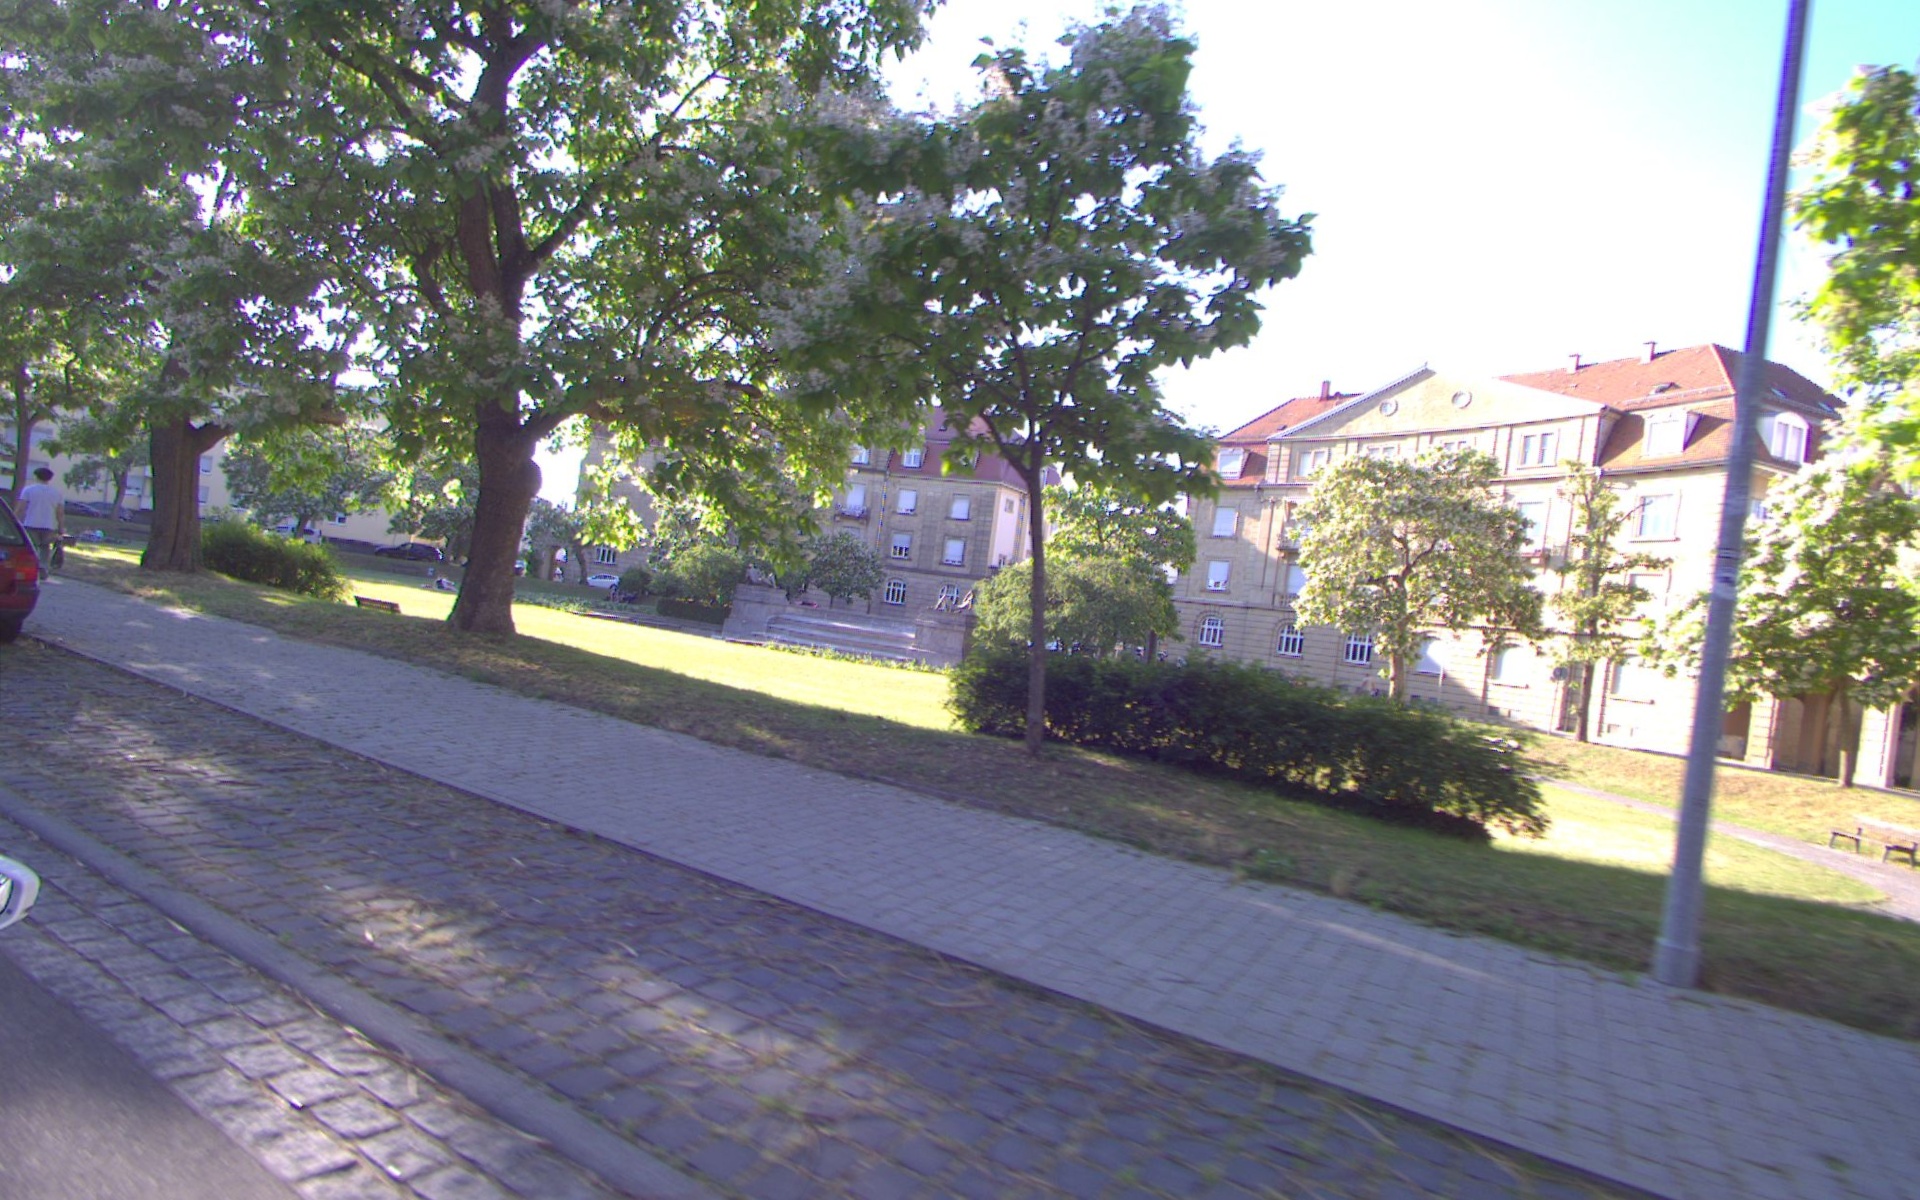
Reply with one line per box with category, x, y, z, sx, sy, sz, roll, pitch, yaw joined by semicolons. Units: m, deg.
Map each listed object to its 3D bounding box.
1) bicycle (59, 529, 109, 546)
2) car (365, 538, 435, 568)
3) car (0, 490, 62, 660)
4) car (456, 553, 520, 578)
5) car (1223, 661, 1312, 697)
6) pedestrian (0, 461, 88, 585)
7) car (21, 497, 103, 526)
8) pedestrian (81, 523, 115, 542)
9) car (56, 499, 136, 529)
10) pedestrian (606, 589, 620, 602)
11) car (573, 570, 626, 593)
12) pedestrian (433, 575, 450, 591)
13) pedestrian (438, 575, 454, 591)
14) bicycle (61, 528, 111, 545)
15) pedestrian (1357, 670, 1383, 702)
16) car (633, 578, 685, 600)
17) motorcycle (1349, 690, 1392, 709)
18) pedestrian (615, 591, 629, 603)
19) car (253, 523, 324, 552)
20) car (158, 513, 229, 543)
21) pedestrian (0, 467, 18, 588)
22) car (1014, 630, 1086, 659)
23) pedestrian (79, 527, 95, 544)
bicycle;-46.870;-3.365;53.874;1.755;0.622;1.796;9;-2;-34
car;-45.341;-3.794;81.591;4.456;1.767;1.875;8;-1;-15
car;-10.829;-0.497;9.821;4.729;1.504;1.681;7;-1;31
car;-39.135;-2.848;83.467;4.292;1.470;1.879;7;-1;-7
car;18.162;4.670;59.575;1.802;1.434;4.906;8;-1;-33
pedestrian;-14.070;-1.172;15.416;0.719;1.756;0.726;8;-1;32
car;-64.058;-6.283;71.855;4.175;1.374;1.675;8;-1;-38
pedestrian;-48.296;-3.756;56.370;1.240;0.822;0.573;9;-1;-13
car;-66.571;-6.597;77.621;4.493;1.588;1.860;8;-1;-40
pedestrian;-25.414;-0.344;73.748;0.655;0.804;0.587;7;0;20
car;-32.340;-1.658;90.303;3.926;1.470;1.881;7;-1;0
pedestrian;-28.974;-0.965;56.189;0.578;0.803;0.666;7;0;-11
pedestrian;-29.098;-0.964;56.929;0.578;0.803;0.666;7;0;-11
bicycle;-47.684;-3.453;54.918;1.755;0.622;1.796;9;-2;-34
pedestrian;20.797;4.385;51.064;0.935;1.493;0.681;7;0;34
car;-26.981;-0.985;90.360;3.924;1.470;1.882;7;-1;5
motorcycle;20.802;5.037;51.005;1.829;0.679;0.681;7;-1;34
pedestrian;-24.681;-0.234;73.482;0.655;0.804;0.587;7;0;20
car;-55.945;-5.181;83.922;4.468;1.767;1.870;8;-1;-24
car;-57.862;-5.414;75.992;3.959;1.570;1.597;8;-1;-31
pedestrian;-14.498;-1.126;14.687;0.719;1.756;0.754;8;-1;32
car;6.458;3.212;72.603;4.877;1.434;1.813;6;-1;39
pedestrian;-49.314;-3.633;56.829;0.602;0.822;0.473;7;-1;33
